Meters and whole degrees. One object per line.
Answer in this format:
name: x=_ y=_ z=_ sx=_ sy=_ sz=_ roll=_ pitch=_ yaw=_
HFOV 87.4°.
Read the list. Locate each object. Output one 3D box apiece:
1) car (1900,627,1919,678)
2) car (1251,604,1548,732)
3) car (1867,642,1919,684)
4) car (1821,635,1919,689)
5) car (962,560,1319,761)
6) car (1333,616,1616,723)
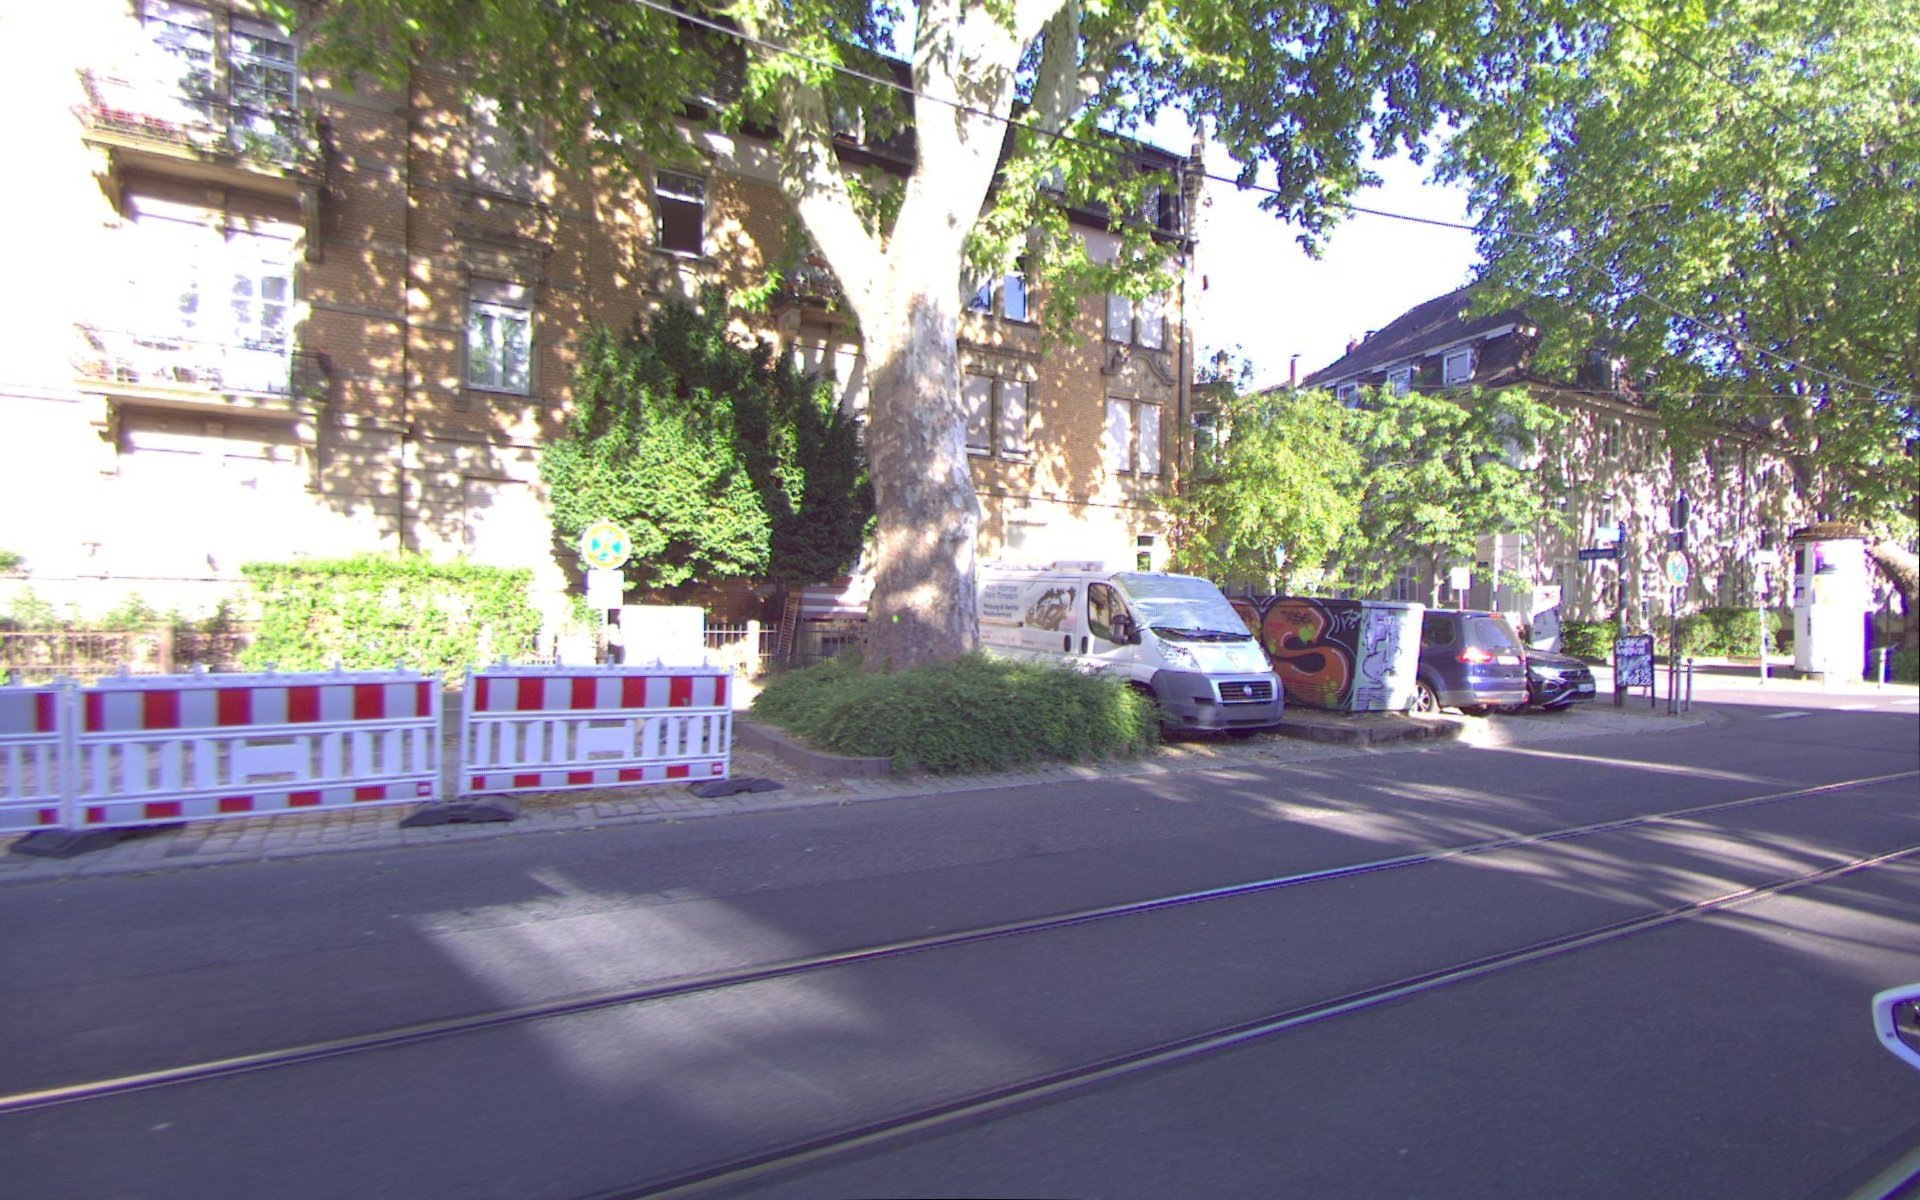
car: x=33.545 y=1.679 z=32.508 sx=1.766 sy=1.696 sz=4.270 roll=2 pitch=-5 yaw=-37
car: x=7.251 y=1.018 z=16.994 sx=1.905 sy=1.825 sz=4.276 roll=1 pitch=0 yaw=-32
car: x=31.686 y=1.976 z=31.705 sx=1.695 sy=1.307 sz=4.270 roll=2 pitch=-5 yaw=-37
car: x=29.304 y=1.897 z=30.666 sx=1.766 sy=1.614 sz=4.270 roll=2 pitch=-5 yaw=-37
car: x=2.263 y=0.682 z=14.091 sx=2.063 sy=2.289 sz=5.004 roll=1 pitch=0 yaw=-33
car: x=9.312 y=1.173 z=18.539 sx=1.905 sy=1.628 sz=4.276 roll=1 pitch=0 yaw=-32
